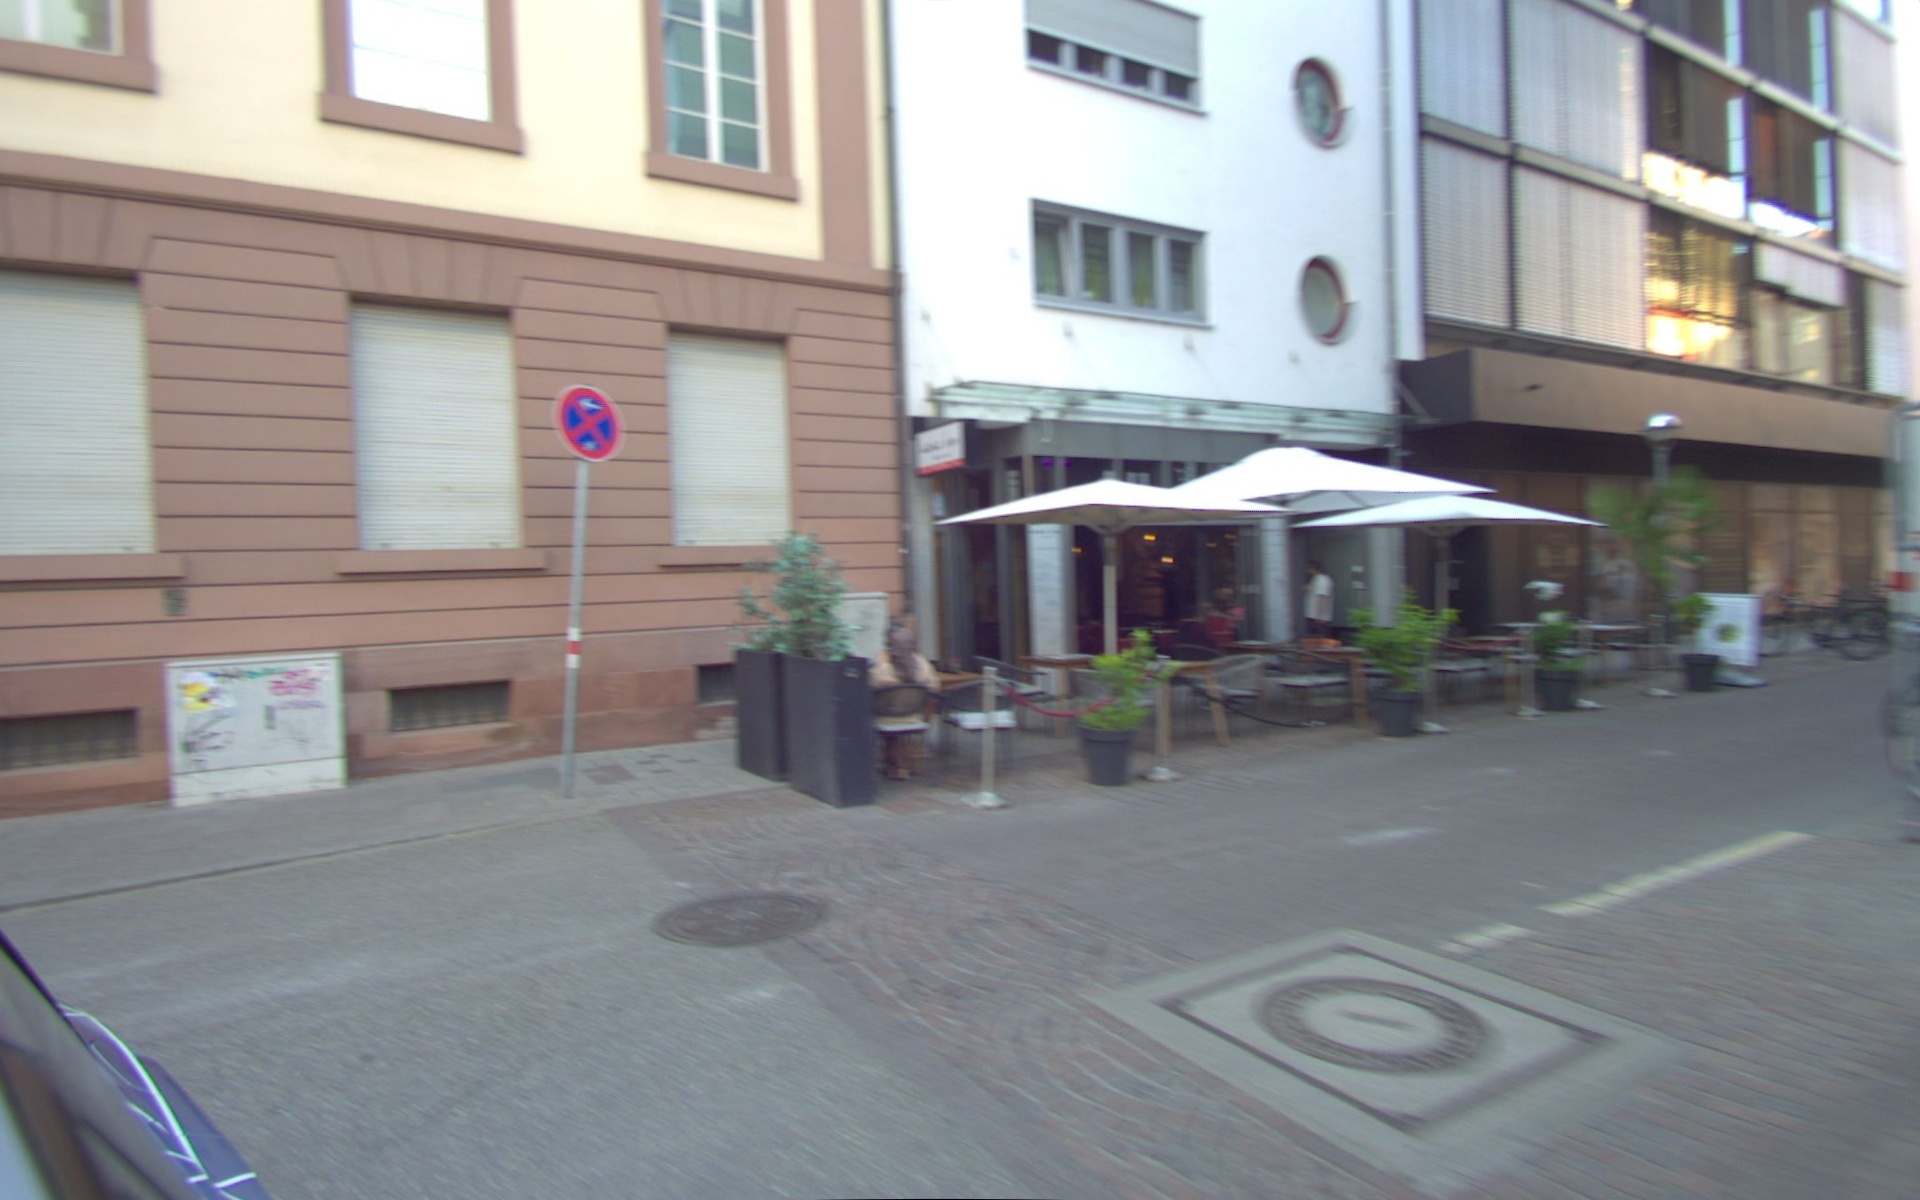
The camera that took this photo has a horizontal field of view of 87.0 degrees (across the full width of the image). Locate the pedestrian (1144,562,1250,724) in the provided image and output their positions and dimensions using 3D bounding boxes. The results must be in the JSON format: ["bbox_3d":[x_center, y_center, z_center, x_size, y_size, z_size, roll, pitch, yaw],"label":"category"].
[{"bbox_3d":[2.573,0.446,11.013,0.713,1.661,0.794,-2,0,-36],"label":"pedestrian"}]

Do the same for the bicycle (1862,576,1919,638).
[{"bbox_3d":[17.249,0.126,17.848,0.459,1.082,1.960,-2,2,-31],"label":"bicycle"}]

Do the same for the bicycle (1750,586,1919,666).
[{"bbox_3d":[13.021,0.347,15.065,0.459,1.082,1.960,-2,2,-31],"label":"bicycle"}]

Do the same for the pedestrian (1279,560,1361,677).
[{"bbox_3d":[5.341,0.268,15.018,0.859,1.671,0.789,-2,0,43],"label":"pedestrian"}]

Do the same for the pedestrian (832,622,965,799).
[{"bbox_3d":[-0.466,0.784,7.582,0.662,1.192,0.794,-1,1,-36],"label":"pedestrian"}]

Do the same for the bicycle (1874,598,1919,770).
[{"bbox_3d":[6.989,0.515,6.150,0.459,1.130,2.022,-2,-2,-31],"label":"bicycle"}]

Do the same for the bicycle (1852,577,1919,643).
[{"bbox_3d":[16.287,0.173,16.952,0.459,1.082,1.960,-2,2,-31],"label":"bicycle"}]

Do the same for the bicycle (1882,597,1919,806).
[{"bbox_3d":[5.860,0.521,5.072,0.459,1.145,1.708,-2,-2,-31],"label":"bicycle"}]

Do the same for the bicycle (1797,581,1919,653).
[{"bbox_3d":[14.716,0.255,16.219,0.459,1.082,1.960,-2,2,-31],"label":"bicycle"}]

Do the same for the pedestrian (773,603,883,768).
[{"bbox_3d":[-1.171,0.713,8.905,0.662,1.341,0.795,-2,2,-32],"label":"pedestrian"}]

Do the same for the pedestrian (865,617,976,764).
[{"bbox_3d":[-0.359,0.769,9.016,0.662,1.192,0.795,-2,2,-32],"label":"pedestrian"}]
